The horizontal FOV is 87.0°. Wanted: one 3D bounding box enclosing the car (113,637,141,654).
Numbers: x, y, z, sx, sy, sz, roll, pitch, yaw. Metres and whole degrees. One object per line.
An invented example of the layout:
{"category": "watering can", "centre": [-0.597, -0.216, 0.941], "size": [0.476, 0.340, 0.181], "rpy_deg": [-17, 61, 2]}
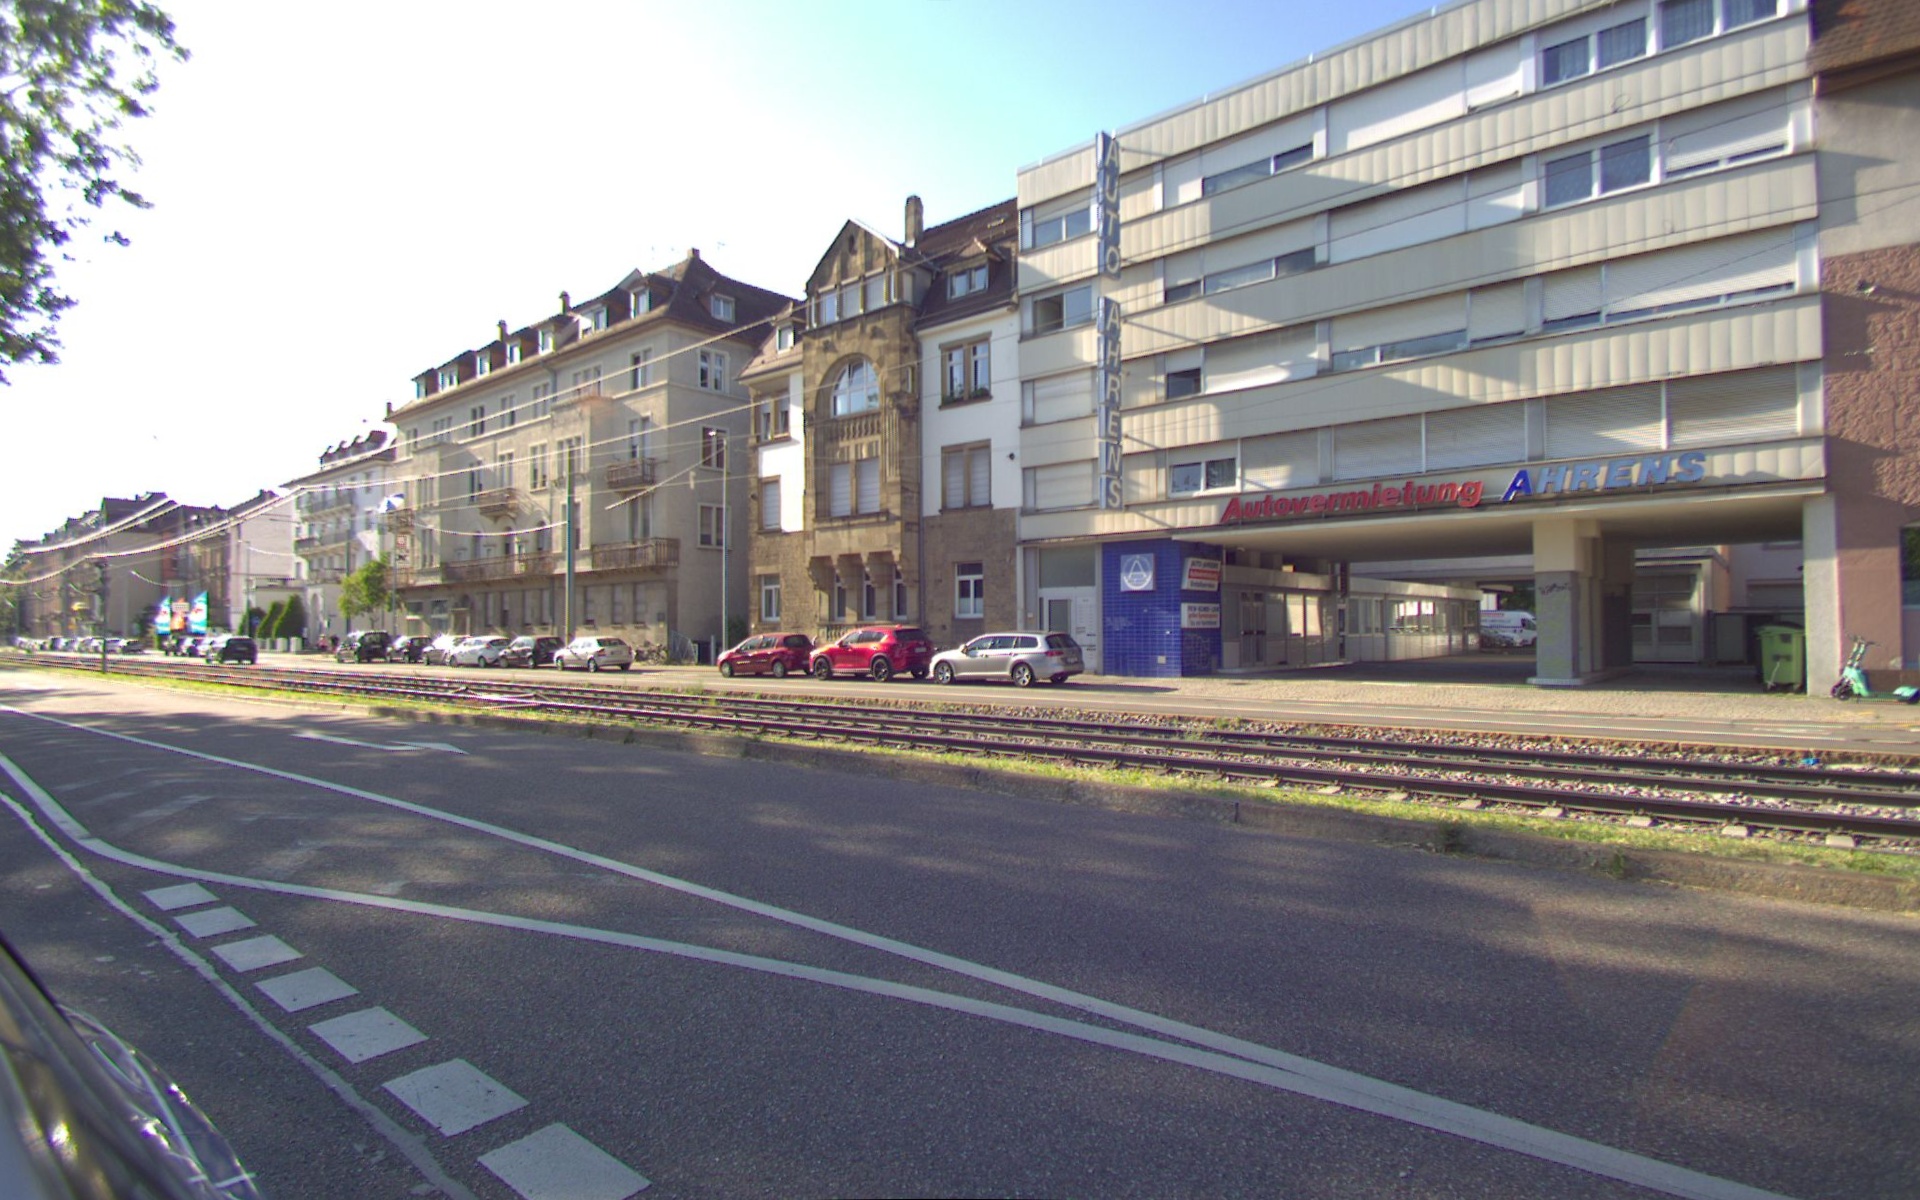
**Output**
{"category": "car", "centre": [-82.479, 4.533, 100.183], "size": [3.448, 1.602, 1.603], "rpy_deg": [-2, -1, 41]}

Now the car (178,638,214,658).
{"category": "car", "centre": [-63.138, 3.970, 83.622], "size": [3.386, 1.583, 1.663], "rpy_deg": [-2, -1, 41]}

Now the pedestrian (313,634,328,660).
{"category": "pedestrian", "centre": [-44.918, 3.319, 71.054], "size": [0.677, 1.803, 0.716], "rpy_deg": [-2, -3, 40]}

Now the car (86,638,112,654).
{"category": "car", "centre": [-93.828, 4.979, 110.243], "size": [3.448, 1.602, 1.603], "rpy_deg": [-2, -1, 41]}

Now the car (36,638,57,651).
{"category": "car", "centre": [-121.408, 5.874, 134.475], "size": [3.448, 1.602, 1.603], "rpy_deg": [-2, -1, 41]}

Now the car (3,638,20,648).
{"category": "car", "centre": [-149.445, 6.774, 159.375], "size": [3.448, 1.602, 1.603], "rpy_deg": [-2, -1, 41]}

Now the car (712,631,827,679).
{"category": "car", "centre": [-6.552, 1.863, 34.735], "size": [3.721, 1.507, 1.736], "rpy_deg": [-2, -1, 35]}

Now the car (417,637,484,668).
{"category": "car", "centre": [-26.276, 2.676, 52.173], "size": [3.821, 1.490, 1.779], "rpy_deg": [-2, -1, 41]}

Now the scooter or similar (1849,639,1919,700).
{"category": "scooter or similar", "centre": [16.921, 1.260, 18.383], "size": [1.121, 1.077, 0.202], "rpy_deg": [-2, -1, 41]}

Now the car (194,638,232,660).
{"category": "car", "centre": [-59.204, 3.863, 80.185], "size": [3.386, 1.583, 1.663], "rpy_deg": [-2, -1, 41]}

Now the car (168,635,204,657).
{"category": "car", "centre": [-66.698, 3.912, 87.218], "size": [3.878, 1.800, 1.705], "rpy_deg": [-2, -1, 41]}

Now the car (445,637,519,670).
{"category": "car", "centre": [-22.910, 2.555, 48.471], "size": [3.530, 1.457, 1.624], "rpy_deg": [-2, -1, 34]}

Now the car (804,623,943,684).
{"category": "car", "centre": [-2.728, 1.627, 31.366], "size": [4.261, 1.700, 1.836], "rpy_deg": [-2, -1, 42]}

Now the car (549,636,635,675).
{"category": "car", "centre": [-15.503, 2.300, 42.546], "size": [3.821, 1.490, 1.779], "rpy_deg": [-2, -1, 41]}

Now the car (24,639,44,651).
{"category": "car", "centre": [-129.308, 6.244, 141.315], "size": [3.448, 1.602, 1.603], "rpy_deg": [-2, -1, 41]}

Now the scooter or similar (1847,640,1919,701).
{"category": "scooter or similar", "centre": [16.724, 1.262, 18.203], "size": [1.121, 1.077, 0.202], "rpy_deg": [-2, -1, 41]}

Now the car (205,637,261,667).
{"category": "car", "centre": [-42.162, 2.986, 58.663], "size": [3.998, 1.697, 1.799], "rpy_deg": [-2, -3, 41]}

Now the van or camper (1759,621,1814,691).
{"category": "van or camper", "centre": [16.942, 1.128, 20.745], "size": [0.803, 1.368, 1.410], "rpy_deg": [-2, -3, 40]}

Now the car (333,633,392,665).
{"category": "car", "centre": [-35.085, 2.854, 59.387], "size": [3.913, 1.750, 1.851], "rpy_deg": [-2, -1, 41]}

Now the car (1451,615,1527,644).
{"category": "car", "centre": [34.649, 1.937, 66.336], "size": [4.119, 1.825, 1.869], "rpy_deg": [-2, -3, 40]}

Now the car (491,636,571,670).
{"category": "car", "centre": [-19.541, 2.401, 46.050], "size": [3.819, 1.441, 1.780], "rpy_deg": [-2, -1, 39]}

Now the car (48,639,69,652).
{"category": "car", "centre": [-115.518, 5.798, 129.685], "size": [3.448, 1.602, 1.603], "rpy_deg": [-2, -1, 41]}

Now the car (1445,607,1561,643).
{"category": "car", "centre": [36.719, 1.740, 68.588], "size": [6.594, 2.275, 2.331], "rpy_deg": [-2, -3, 40]}

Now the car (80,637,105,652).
{"category": "car", "centre": [-98.024, 5.033, 114.327], "size": [3.448, 1.602, 1.603], "rpy_deg": [-2, -1, 41]}

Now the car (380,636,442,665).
{"category": "car", "centre": [-30.504, 2.801, 56.173], "size": [3.821, 1.490, 1.779], "rpy_deg": [-2, -1, 41]}

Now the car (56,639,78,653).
{"category": "car", "centre": [-111.666, 5.711, 126.536], "size": [3.448, 1.602, 1.603], "rpy_deg": [-2, -1, 41]}

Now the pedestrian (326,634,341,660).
{"category": "pedestrian", "centre": [-44.339, 3.302, 71.590], "size": [0.677, 1.803, 0.716], "rpy_deg": [-2, -3, 40]}

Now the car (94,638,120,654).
{"category": "car", "centre": [-89.564, 4.819, 106.254], "size": [3.448, 1.602, 1.603], "rpy_deg": [-2, -1, 41]}

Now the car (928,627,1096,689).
{"category": "car", "centre": [1.375, 1.565, 27.867], "size": [4.378, 1.510, 1.837], "rpy_deg": [-2, -1, 40]}
